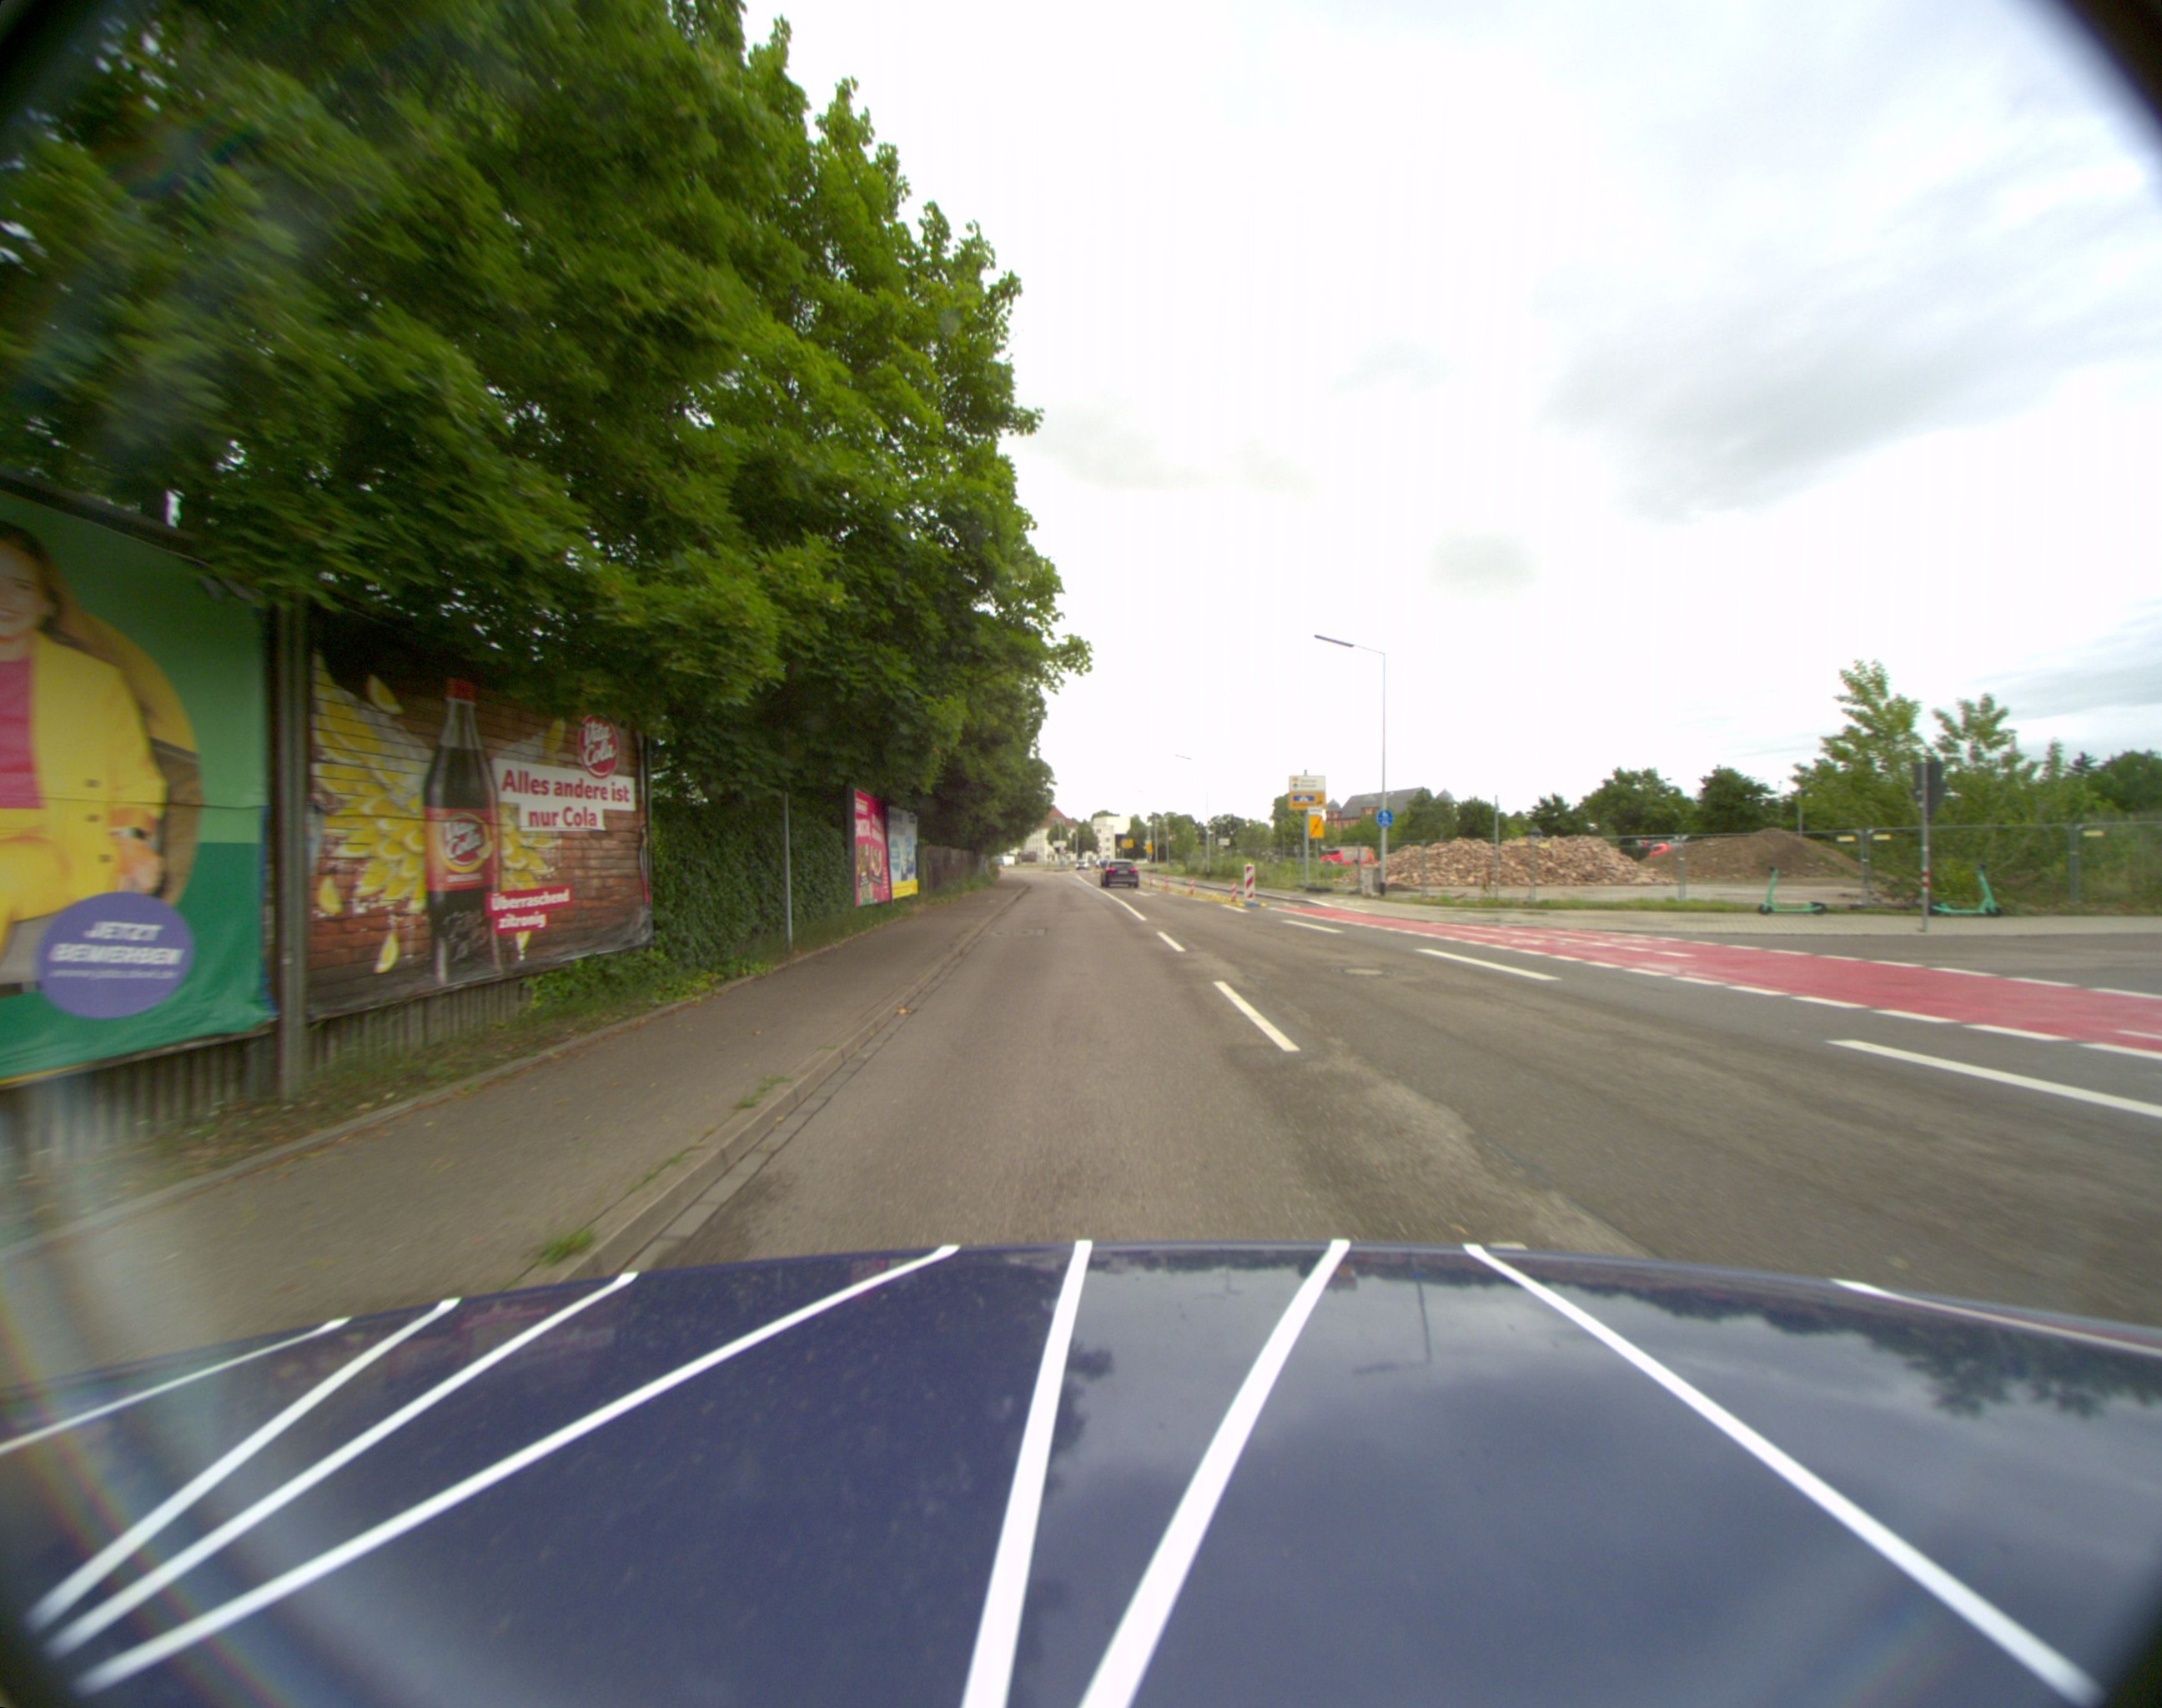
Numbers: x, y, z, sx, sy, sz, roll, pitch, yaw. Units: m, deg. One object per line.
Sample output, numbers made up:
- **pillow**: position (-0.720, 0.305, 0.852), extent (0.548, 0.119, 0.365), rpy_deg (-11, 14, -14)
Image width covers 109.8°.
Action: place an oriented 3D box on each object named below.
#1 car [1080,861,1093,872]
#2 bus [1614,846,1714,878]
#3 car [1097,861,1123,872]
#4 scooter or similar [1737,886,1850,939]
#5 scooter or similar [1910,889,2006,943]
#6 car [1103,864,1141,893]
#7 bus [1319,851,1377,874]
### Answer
- **car**: position (0.771, 1.847, 111.140), extent (1.755, 1.578, 3.900), rpy_deg (2, 0, -3)
- **bus**: position (73.533, 1.070, 95.967), extent (9.862, 3.958, 2.740), rpy_deg (-1, -1, 40)
- **car**: position (4.737, 2.051, 123.690), extent (3.993, 1.608, 1.861), rpy_deg (-1, 0, 11)
- **scooter or similar**: position (16.720, 1.348, 17.873), extent (1.898, 1.135, 0.658), rpy_deg (-1, 0, 44)
- **scooter or similar**: position (19.536, 1.369, 16.946), extent (1.334, 1.135, 0.412), rpy_deg (-1, 1, 29)
- **car**: position (2.276, 1.360, 43.110), extent (1.886, 1.557, 4.359), rpy_deg (0, -1, -1)
- **bus**: position (42.889, 1.466, 122.154), extent (8.375, 3.626, 2.740), rpy_deg (-1, -1, 38)
